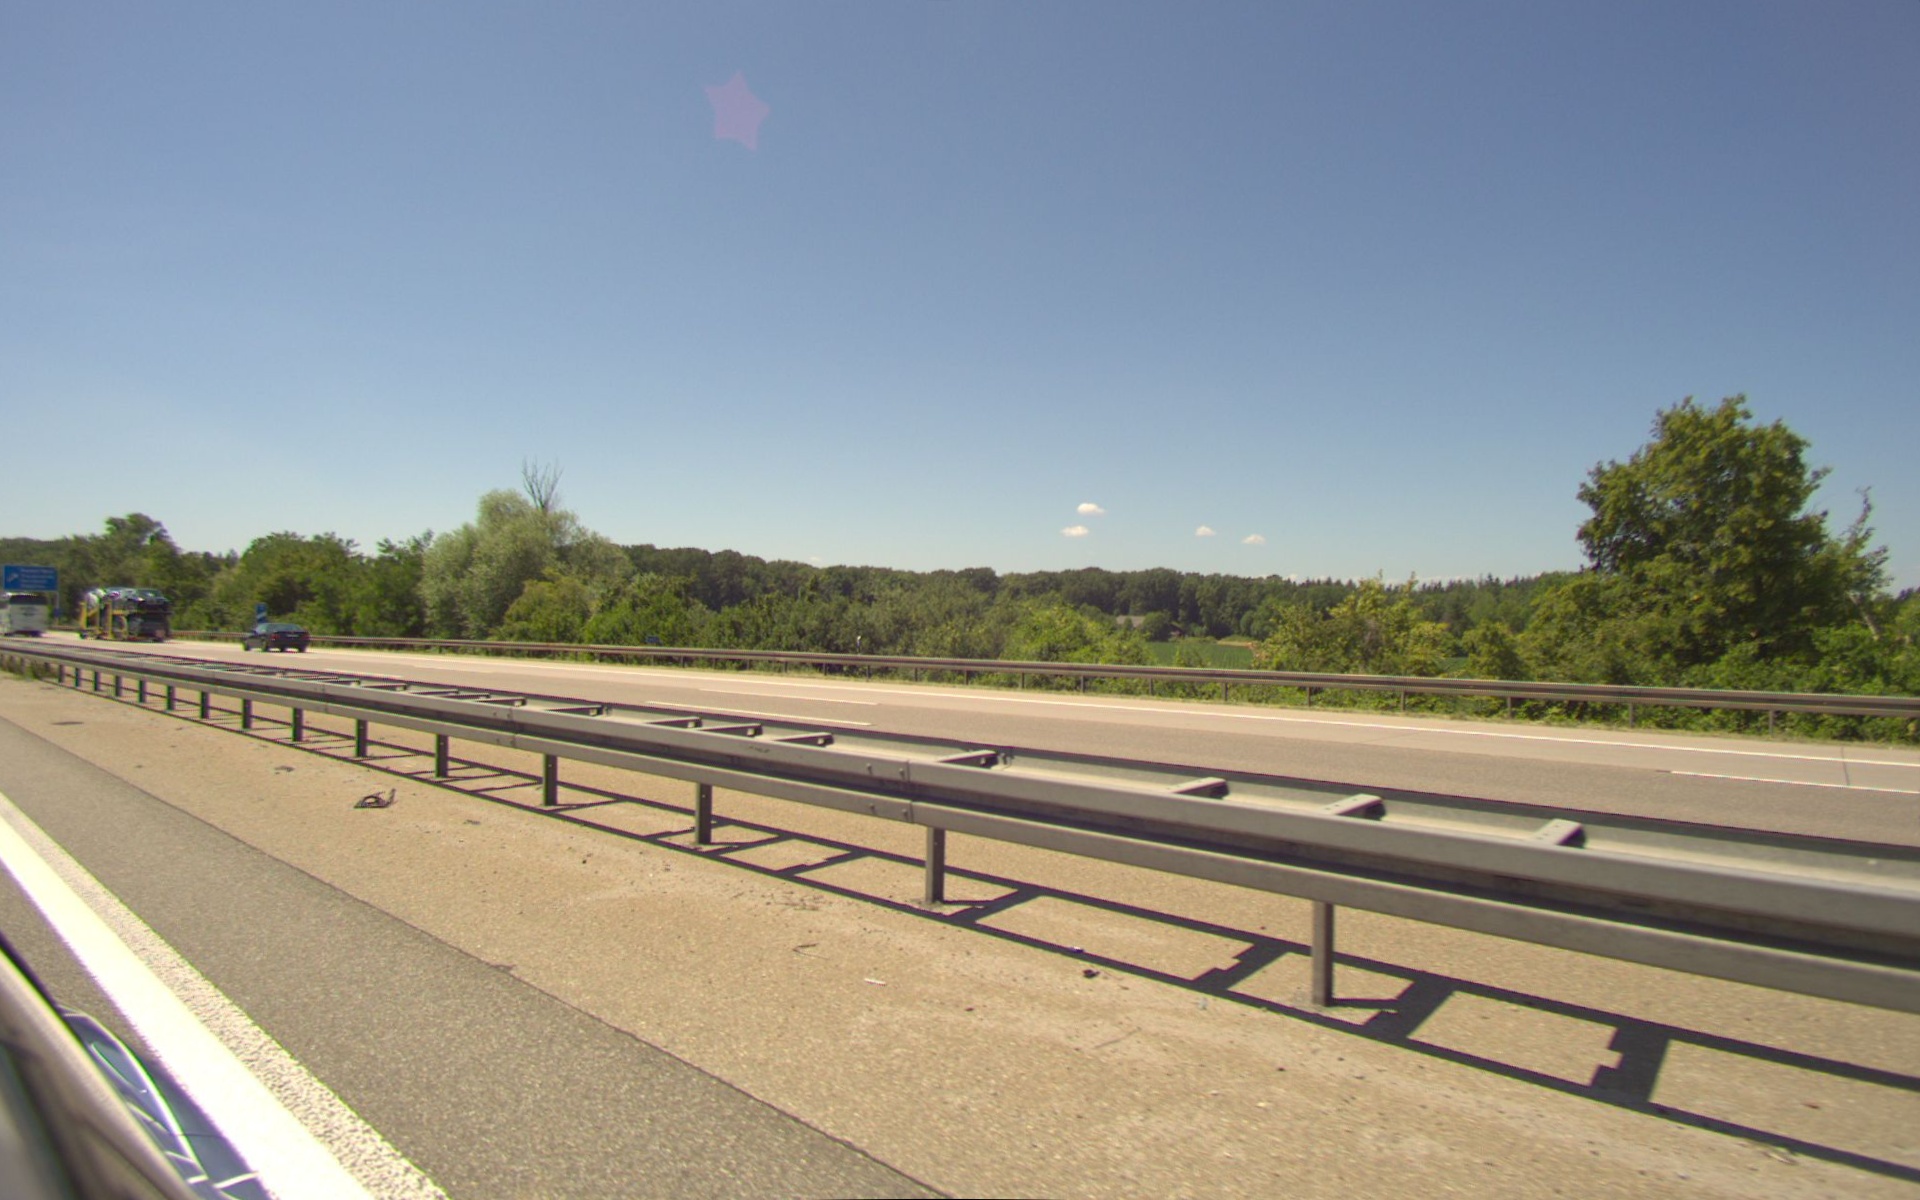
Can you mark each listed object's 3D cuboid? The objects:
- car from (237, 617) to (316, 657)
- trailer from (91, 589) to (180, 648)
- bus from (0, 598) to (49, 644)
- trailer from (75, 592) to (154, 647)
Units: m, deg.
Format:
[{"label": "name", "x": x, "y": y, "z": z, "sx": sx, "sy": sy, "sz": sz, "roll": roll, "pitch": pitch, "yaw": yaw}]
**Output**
[{"label": "car", "x": -34.363, "y": 1.842, "z": 50.811, "sx": 4.577, "sy": 1.886, "sz": 1.973, "roll": -1, "pitch": -5, "yaw": 40}, {"label": "trailer", "x": -60.097, "y": 1.412, "z": 73.596, "sx": 11.643, "sy": 3.998, "sz": 2.891, "roll": -1, "pitch": -3, "yaw": 41}, {"label": "bus", "x": -80.782, "y": 1.848, "z": 86.425, "sx": 12.785, "sy": 3.611, "sz": 2.666, "roll": -1, "pitch": -4, "yaw": 41}, {"label": "trailer", "x": -65.407, "y": 1.570, "z": 78.196, "sx": 10.529, "sy": 3.998, "sz": 2.891, "roll": -1, "pitch": -3, "yaw": 41}]
